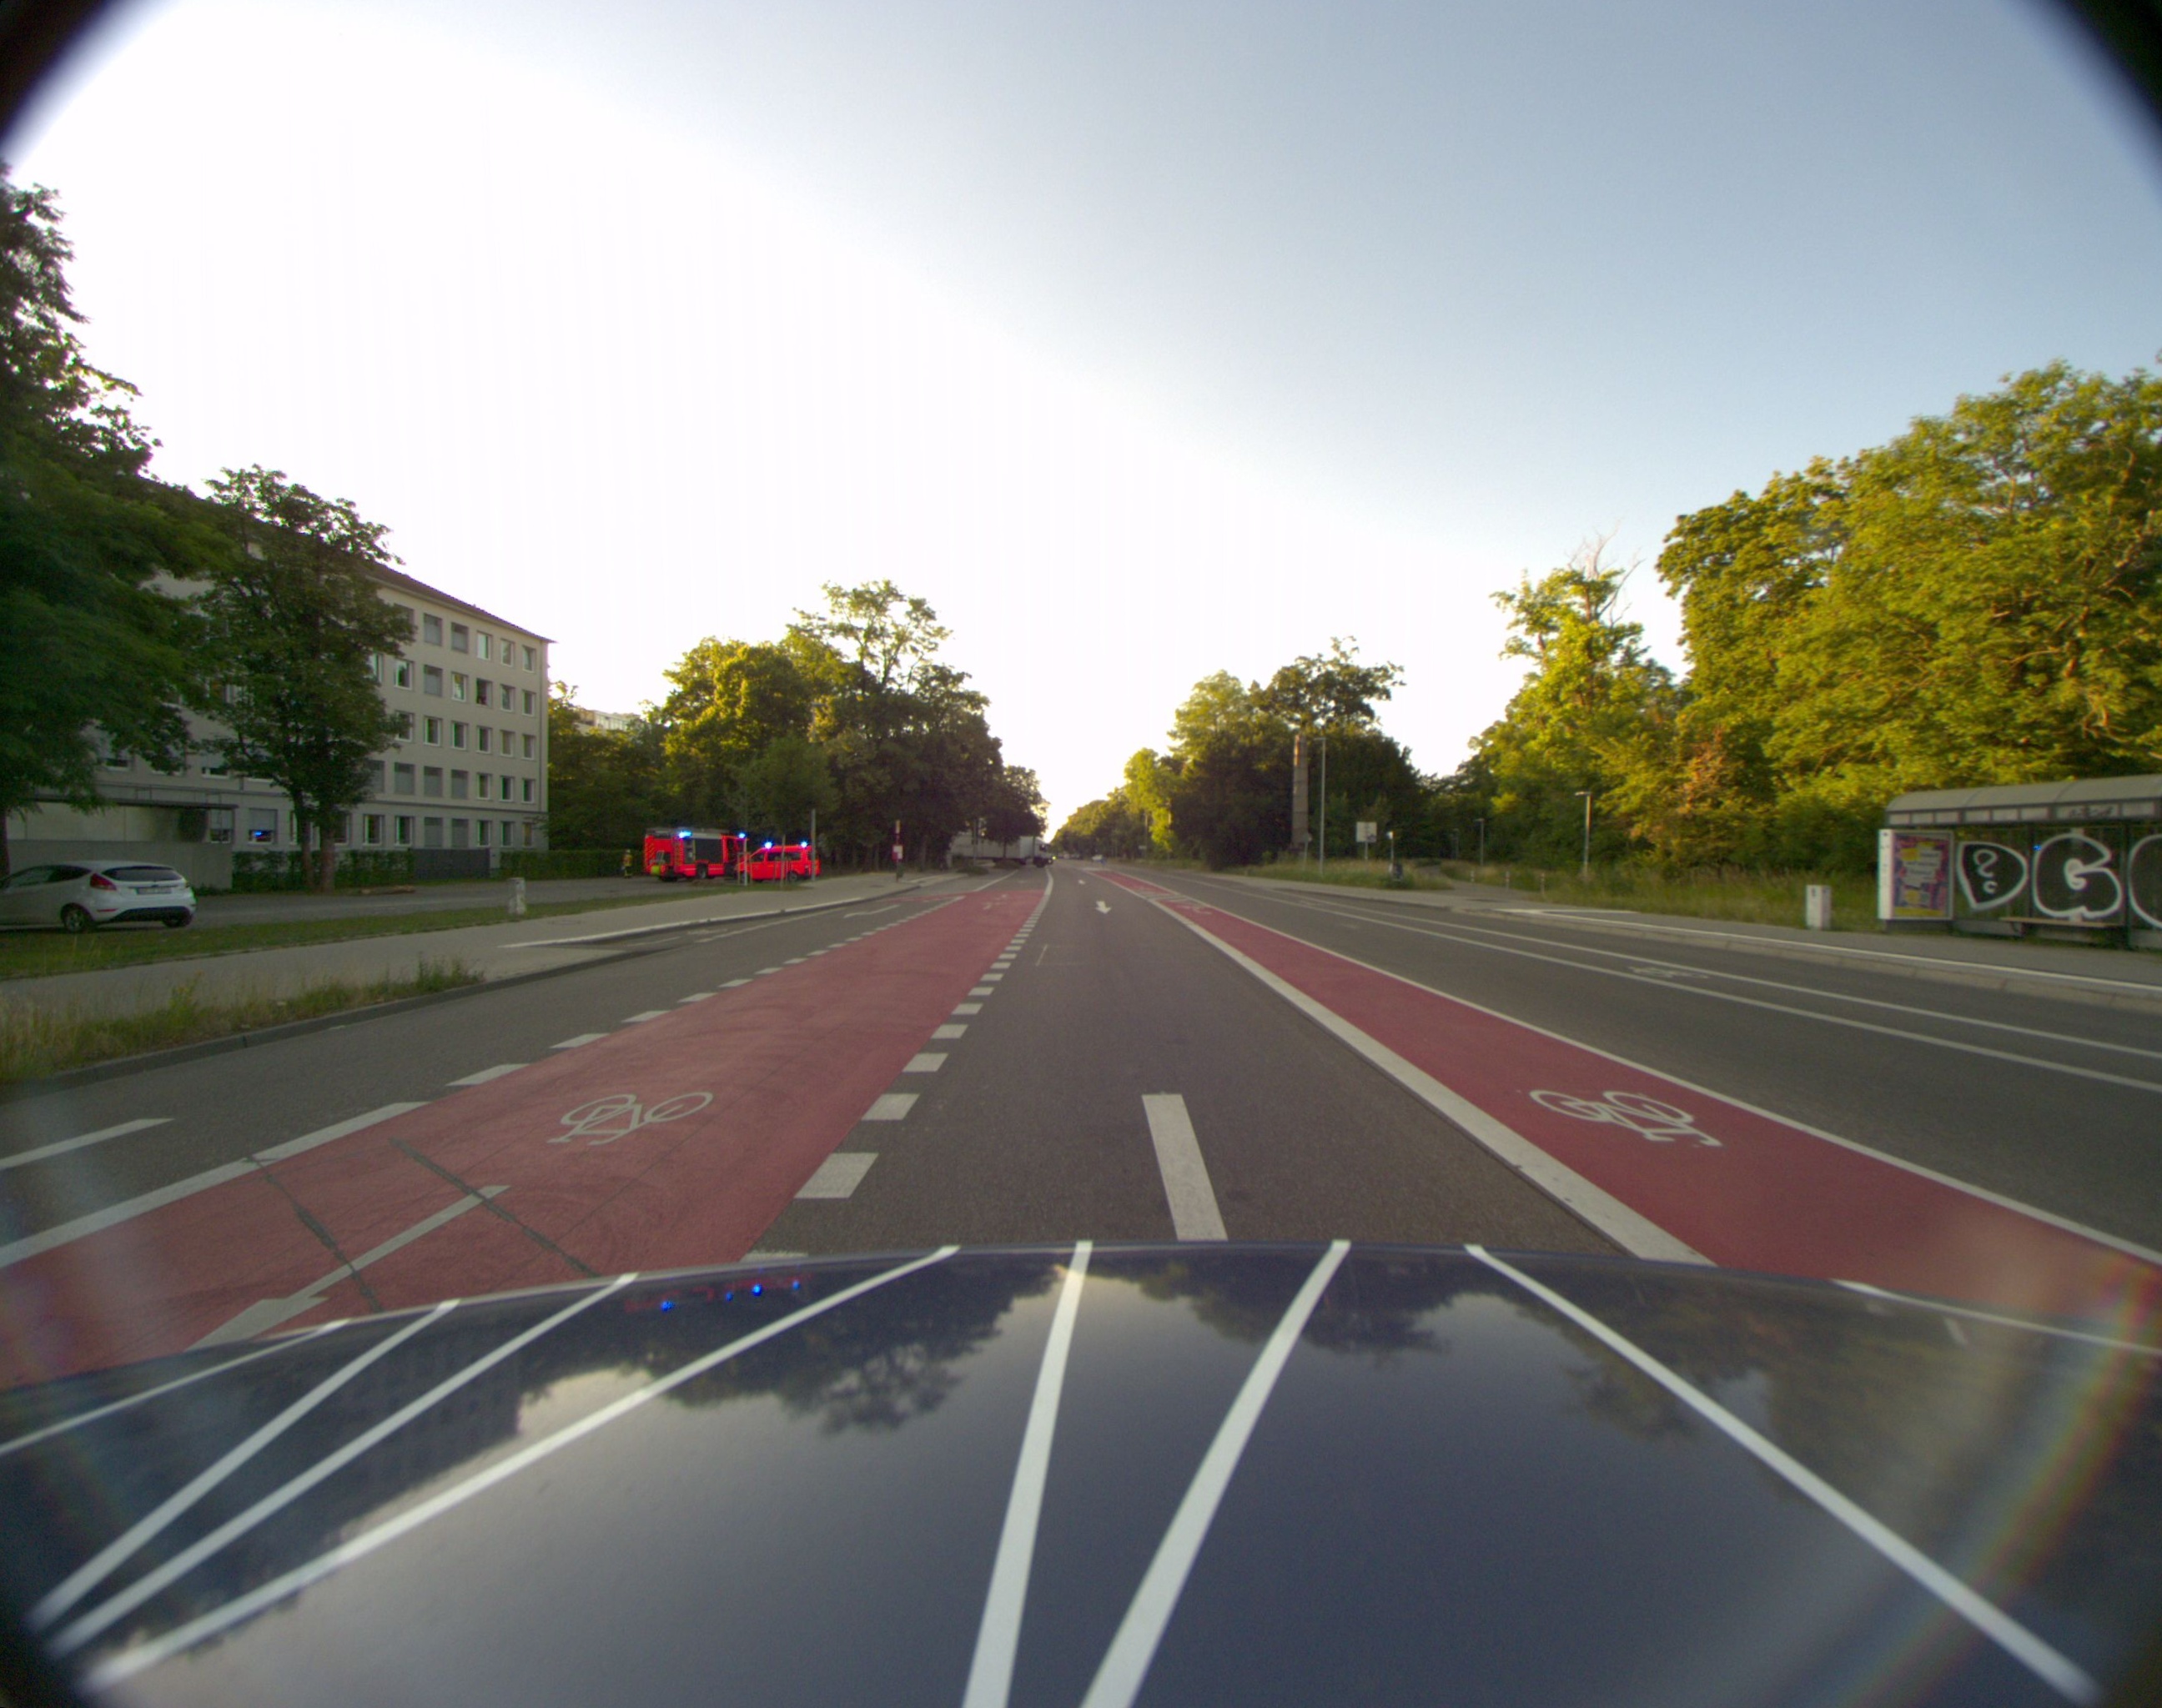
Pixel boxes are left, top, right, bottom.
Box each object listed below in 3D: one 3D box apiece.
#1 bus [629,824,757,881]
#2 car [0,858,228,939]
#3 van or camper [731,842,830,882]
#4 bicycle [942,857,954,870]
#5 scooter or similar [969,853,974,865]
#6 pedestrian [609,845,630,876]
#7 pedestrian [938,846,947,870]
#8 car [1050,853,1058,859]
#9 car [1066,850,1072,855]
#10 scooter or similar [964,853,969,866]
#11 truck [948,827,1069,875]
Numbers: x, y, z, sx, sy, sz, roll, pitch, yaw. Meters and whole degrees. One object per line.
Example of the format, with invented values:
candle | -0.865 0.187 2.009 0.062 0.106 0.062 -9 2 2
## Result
bus | -23.749 -0.104 47.118 2.993 3.177 7.968 -1 0 8
car | -20.967 0.902 16.010 3.996 1.528 1.912 -1 1 4
van or camper | -17.650 0.461 44.792 4.823 2.232 2.296 -1 1 7
bicycle | -11.259 0.800 64.173 0.833 1.091 1.966 0 1 -14
scooter or similar | -11.958 0.583 83.157 0.483 1.274 1.139 2 0 -8
pedestrian | -29.962 0.437 49.359 0.772 2.002 0.826 0 1 9
pedestrian | -11.707 0.344 64.230 0.726 2.002 0.694 0 1 -19
car | -6.670 0.517 188.458 1.999 1.608 3.999 0 0 -1
car | -3.748 -0.419 239.617 1.851 1.406 4.179 0 0 -1
scooter or similar | -12.221 0.581 81.322 0.483 1.274 1.230 2 0 -8
truck | -9.173 -0.392 94.727 15.041 5.542 5.170 0 1 32
